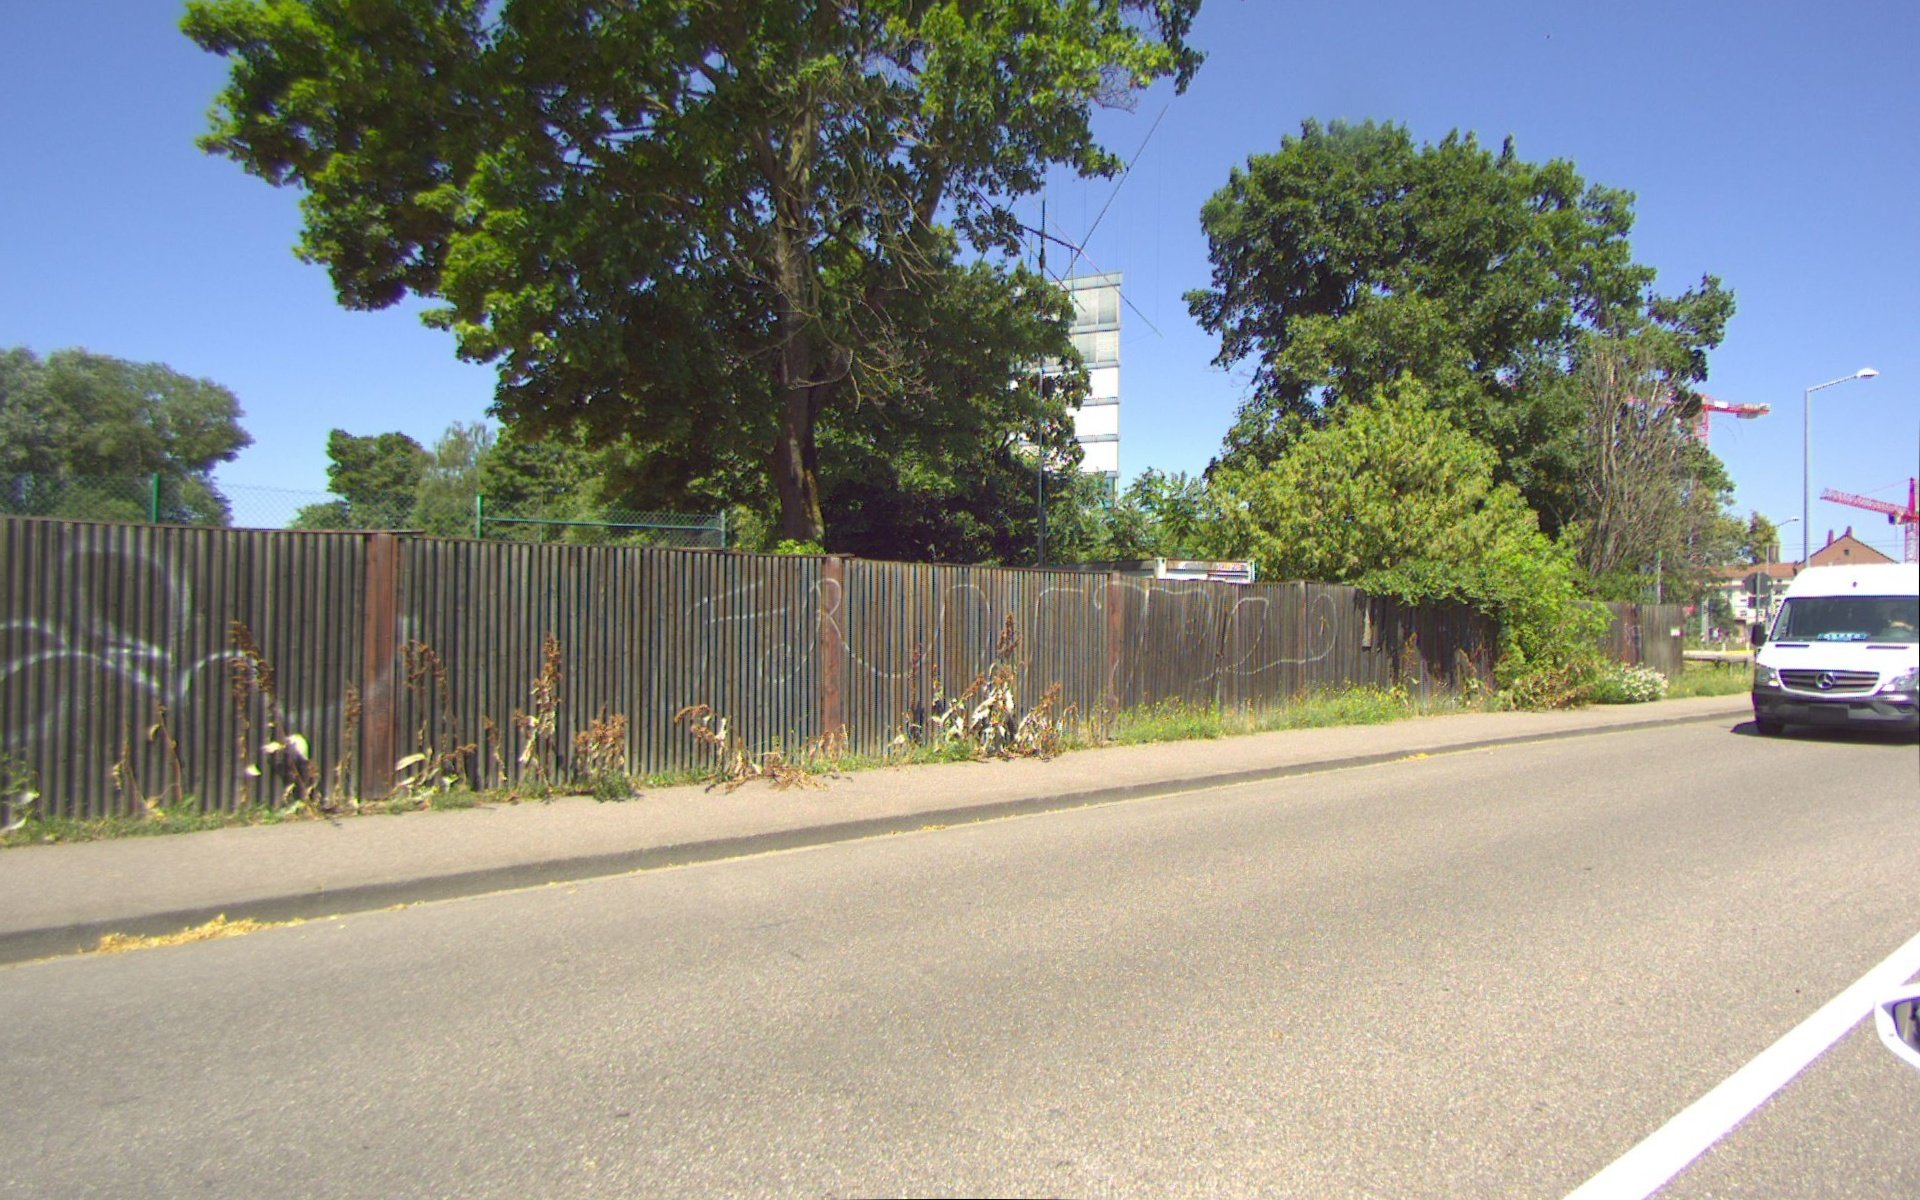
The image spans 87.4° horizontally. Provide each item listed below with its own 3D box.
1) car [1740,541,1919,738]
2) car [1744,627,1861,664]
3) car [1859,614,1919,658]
[{"bbox_3d":[14.639,0.615,15.962,6.768,2.572,2.004,2,-2,-39],"label":"car"},{"bbox_3d":[37.278,1.985,44.577,1.602,1.464,4.018,1,0,-4],"label":"car"},{"bbox_3d":[41.724,1.554,42.905,1.962,1.874,4.983,1,0,-5],"label":"car"}]
